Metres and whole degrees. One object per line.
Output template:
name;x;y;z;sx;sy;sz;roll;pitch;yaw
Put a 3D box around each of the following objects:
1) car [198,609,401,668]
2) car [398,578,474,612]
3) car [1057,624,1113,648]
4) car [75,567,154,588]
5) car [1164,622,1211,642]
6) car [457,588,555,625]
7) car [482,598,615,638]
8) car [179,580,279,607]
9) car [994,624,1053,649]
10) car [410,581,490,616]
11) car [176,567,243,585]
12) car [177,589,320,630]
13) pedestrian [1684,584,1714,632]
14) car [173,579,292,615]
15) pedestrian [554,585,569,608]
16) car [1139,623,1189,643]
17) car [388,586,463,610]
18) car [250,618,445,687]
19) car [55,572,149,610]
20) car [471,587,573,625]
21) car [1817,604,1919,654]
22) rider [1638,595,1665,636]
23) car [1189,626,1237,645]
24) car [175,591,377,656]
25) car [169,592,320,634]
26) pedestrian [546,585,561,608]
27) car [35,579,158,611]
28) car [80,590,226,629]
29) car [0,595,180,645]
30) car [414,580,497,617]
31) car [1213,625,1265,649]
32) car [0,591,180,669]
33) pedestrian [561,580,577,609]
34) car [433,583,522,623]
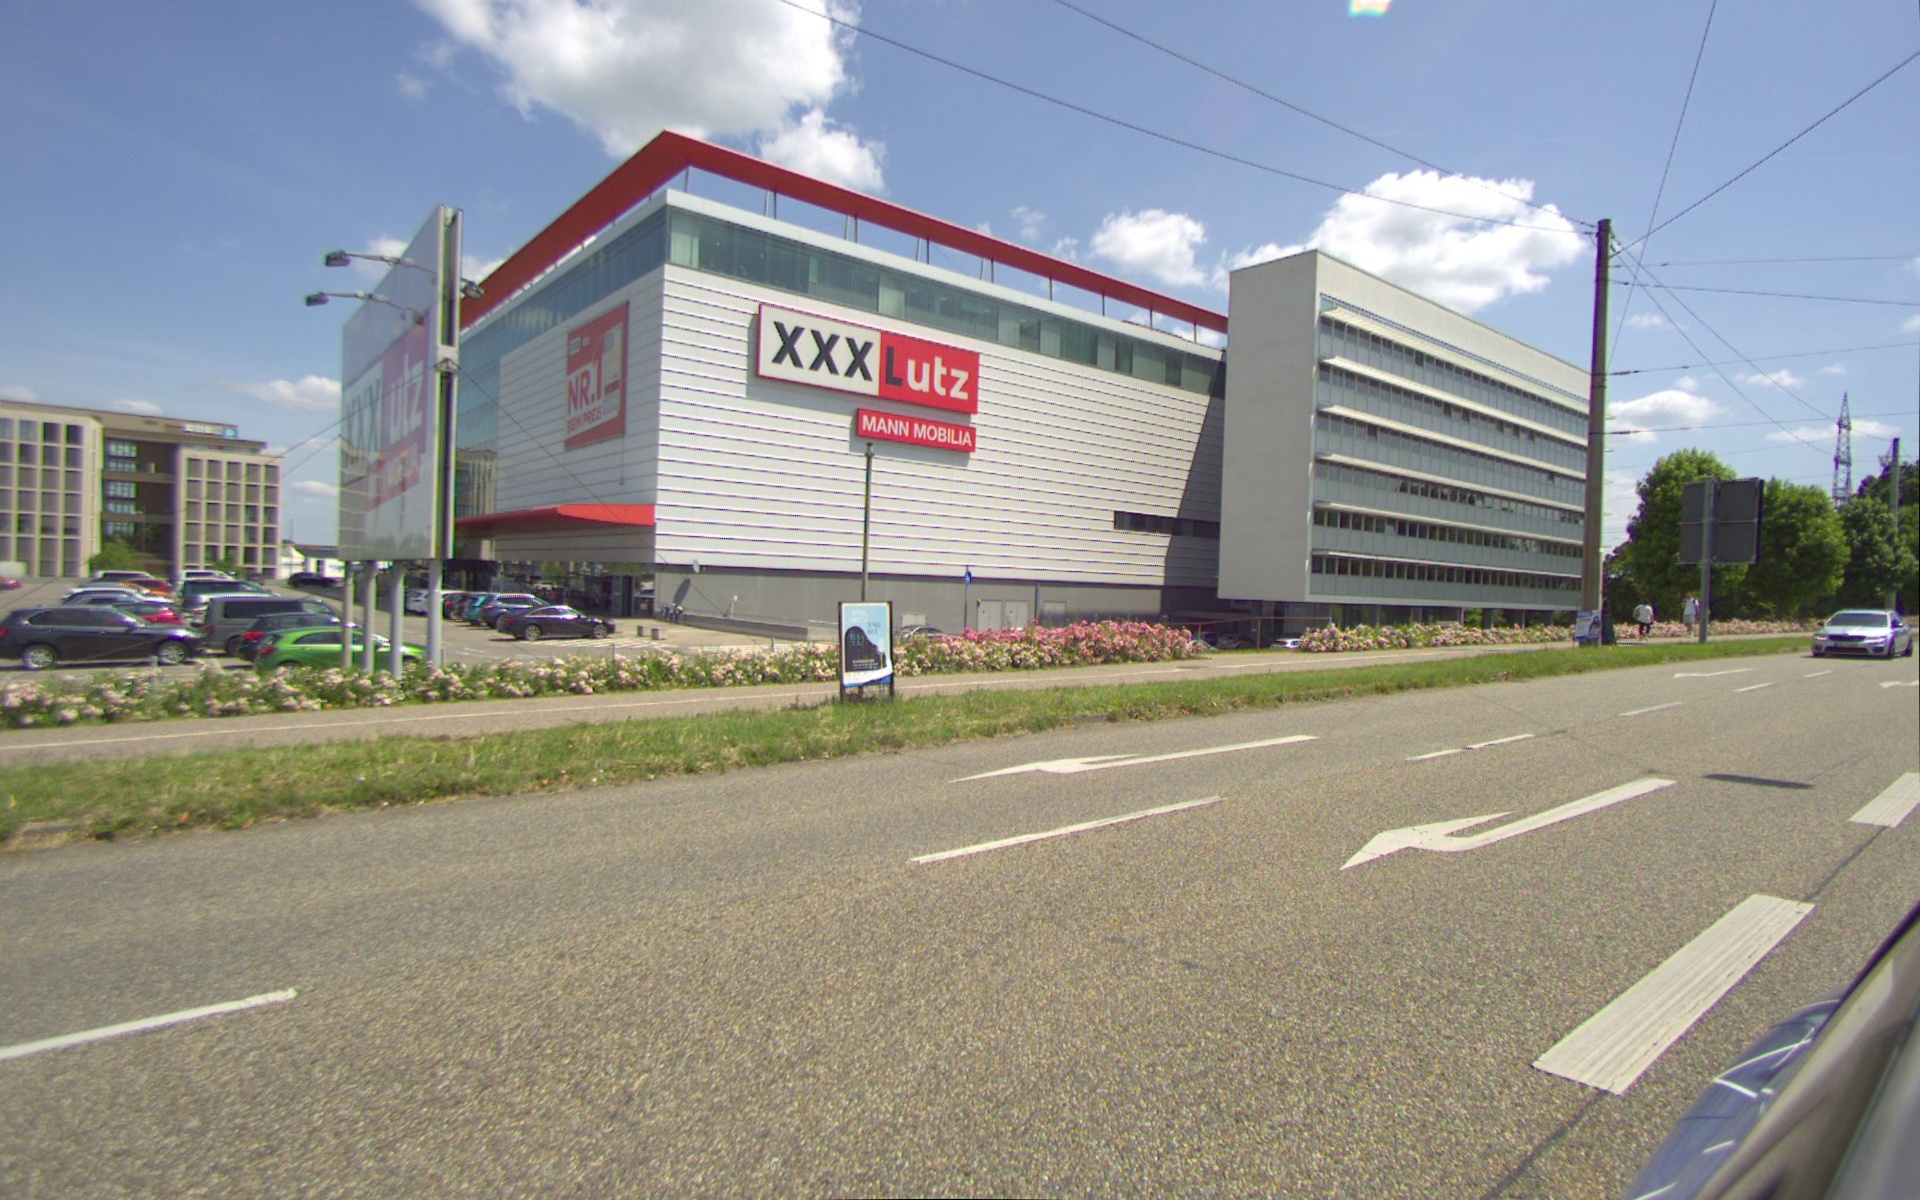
car;-19.758;1.083;30.405;4.913;1.570;1.997;0;0;-41
car;-32.832;-0.312;63.452;3.930;2.039;1.997;0;1;-41
car;9.176;2.607;74.396;3.930;1.632;1.997;0;0;-41
car;-68.834;-1.797;82.485;4.913;1.631;1.997;0;0;-41
car;17.969;2.521;80.007;3.930;1.403;1.646;0;0;-41
car;-23.543;0.337;52.534;4.257;1.804;1.997;0;-1;-41
car;-17.579;0.738;43.371;4.913;1.631;1.997;0;0;-41
car;-45.872;-0.419;63.563;4.913;1.631;1.997;0;0;-41
car;4.547;2.577;72.340;3.930;1.632;1.997;0;0;-41
car;-30.461;-0.104;60.463;3.930;2.039;1.997;0;1;-41
car;-70.074;-2.240;94.543;4.913;1.631;1.997;0;0;-41
car;-30.905;0.394;44.037;4.913;1.671;1.997;0;0;-41
pedestrian;29.581;0.311;40.518;0.913;1.872;0.758;0;0;-38
car;-39.845;-0.157;55.513;5.094;1.888;1.996;0;0;-43
pedestrian;-26.488;-0.235;67.207;0.723;1.577;0.741;0;0;-43
car;16.585;2.633;82.113;3.930;1.465;1.997;0;0;-41
car;-34.387;-0.121;65.149;3.930;1.505;1.997;0;0;-41
car;-16.424;1.344;27.218;4.227;1.514;1.998;0;4;-41
car;-47.626;-0.473;56.245;3.930;2.039;1.997;0;0;-41
car;-21.694;0.306;50.196;4.257;1.804;1.997;0;-1;-41
car;27.135;0.825;30.114;3.929;1.355;1.895;0;0;-40
rider;25.276;0.542;36.998;0.607;1.476;0.670;0;0;-41
car;19.520;2.733;77.980;3.930;1.338;1.607;0;0;-41
car;-22.909;0.730;34.046;5.437;2.039;1.997;0;0;-41
car;-29.392;0.505;41.642;4.913;1.631;1.997;0;0;-41
pedestrian;-27.256;-0.231;67.813;0.723;1.577;0.741;0;0;-43
car;-46.162;-0.255;54.235;4.913;1.631;1.997;0;0;-41
car;-35.193;0.381;44.221;4.914;1.631;1.996;0;0;-42
car;-31.538;0.673;36.845;4.913;1.630;1.997;0;1;-41
car;-29.023;-0.109;58.238;3.930;2.039;1.997;0;0;-41
car;21.035;2.746;76.222;3.930;1.632;1.997;0;0;-41
car;-25.430;0.809;28.880;4.913;2.038;1.998;0;2;-41
pedestrian;-26.418;-0.373;68.374;0.723;1.893;0.741;1;0;-43
car;-25.678;0.138;53.938;3.930;2.039;1.997;0;1;-41
